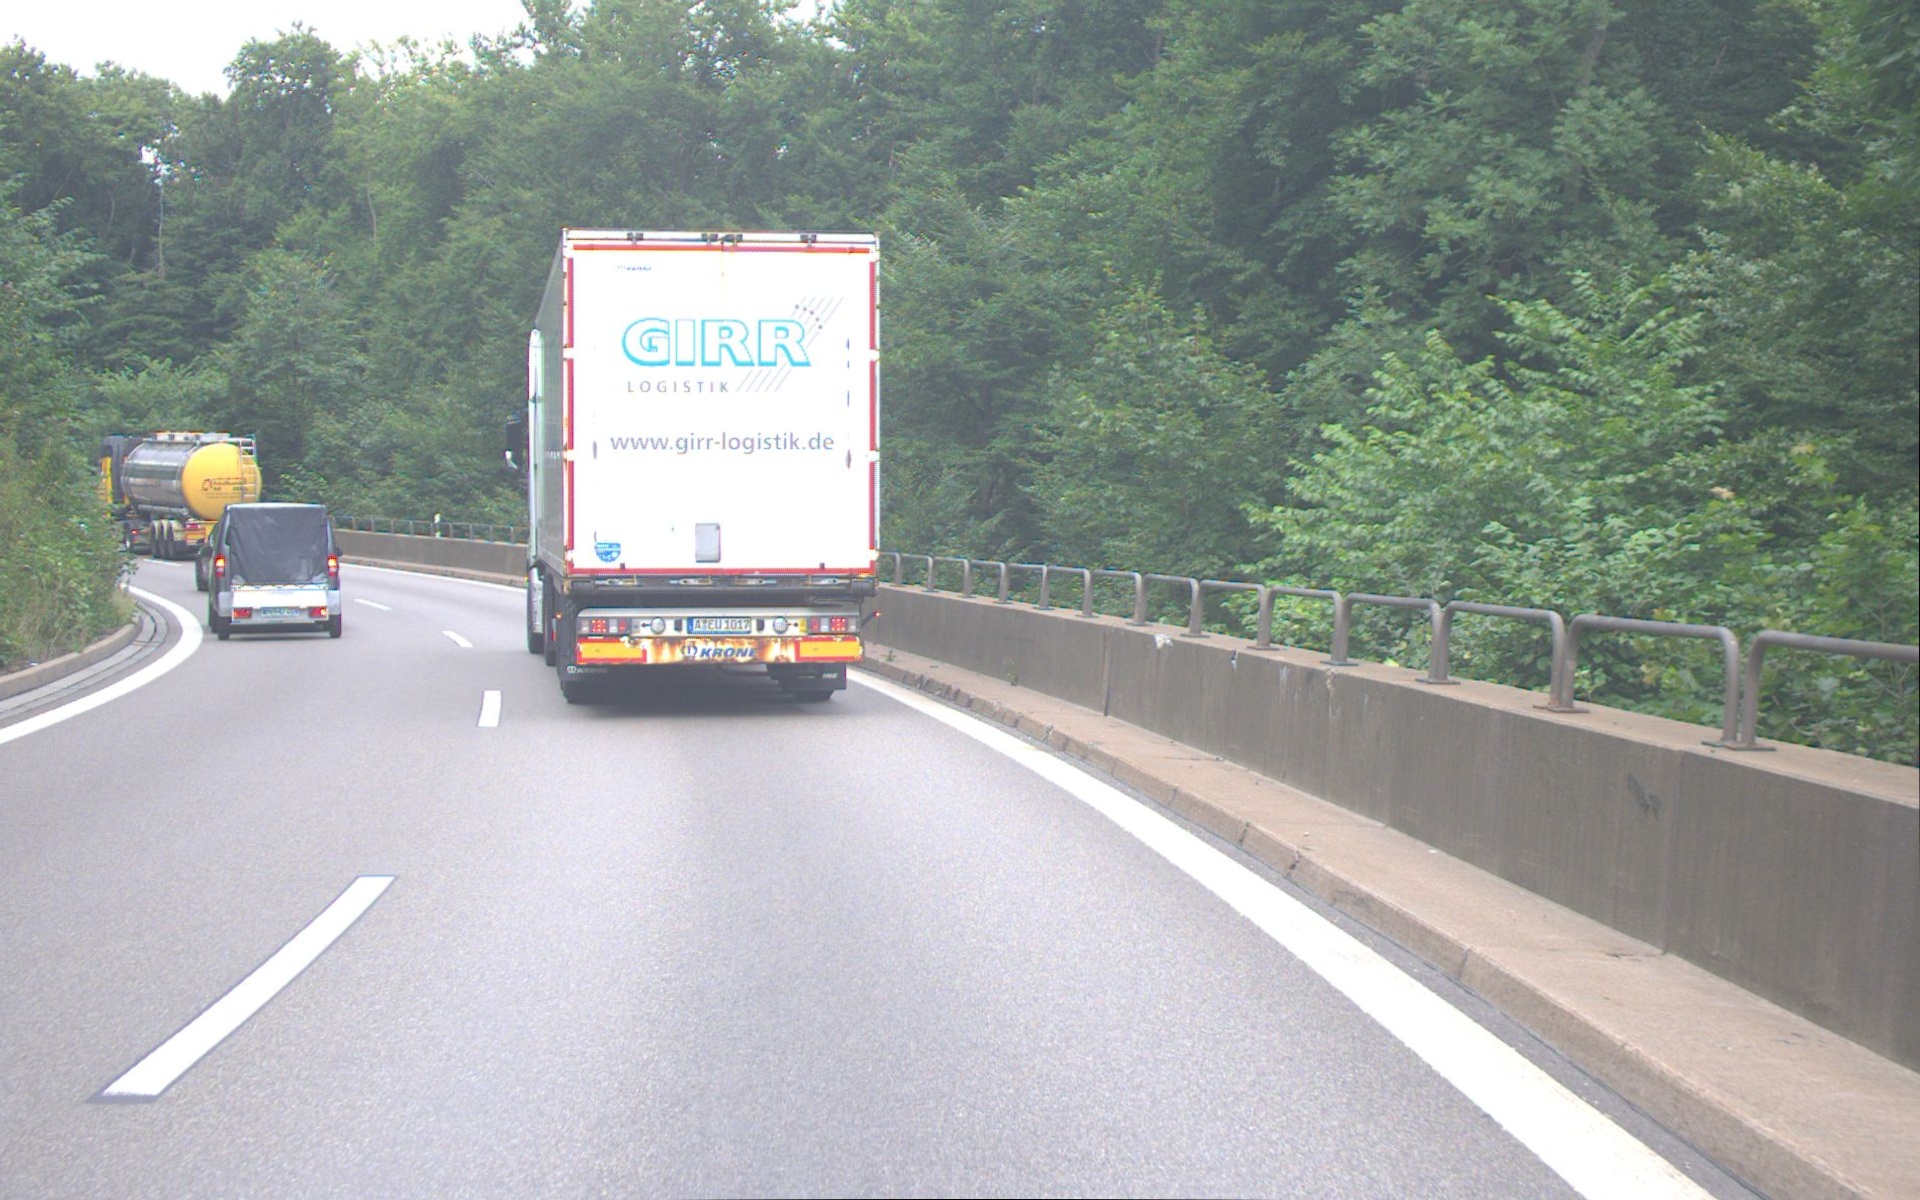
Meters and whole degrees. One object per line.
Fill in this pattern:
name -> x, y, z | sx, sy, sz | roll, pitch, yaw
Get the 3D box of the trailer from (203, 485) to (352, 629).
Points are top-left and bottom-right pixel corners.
trailer -> -9.663, -0.604, 48.830 | 1.970, 1.933, 3.431 | 1, 0, -10

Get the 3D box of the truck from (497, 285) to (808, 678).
truck -> -3.676, -1.402, 39.654 | 3.057, 3.972, 7.189 | 3, 2, -7

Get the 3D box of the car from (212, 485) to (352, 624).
car -> -10.458, -0.695, 53.245 | 1.993, 2.007, 5.542 | 1, 0, -10

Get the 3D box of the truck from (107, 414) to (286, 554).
truck -> -23.452, -3.439, 104.910 | 3.057, 3.972, 13.702 | 0, 1, -22

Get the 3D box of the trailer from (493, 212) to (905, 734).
trailer -> -2.820, -1.279, 33.236 | 3.057, 3.972, 12.140 | 3, 2, -7
